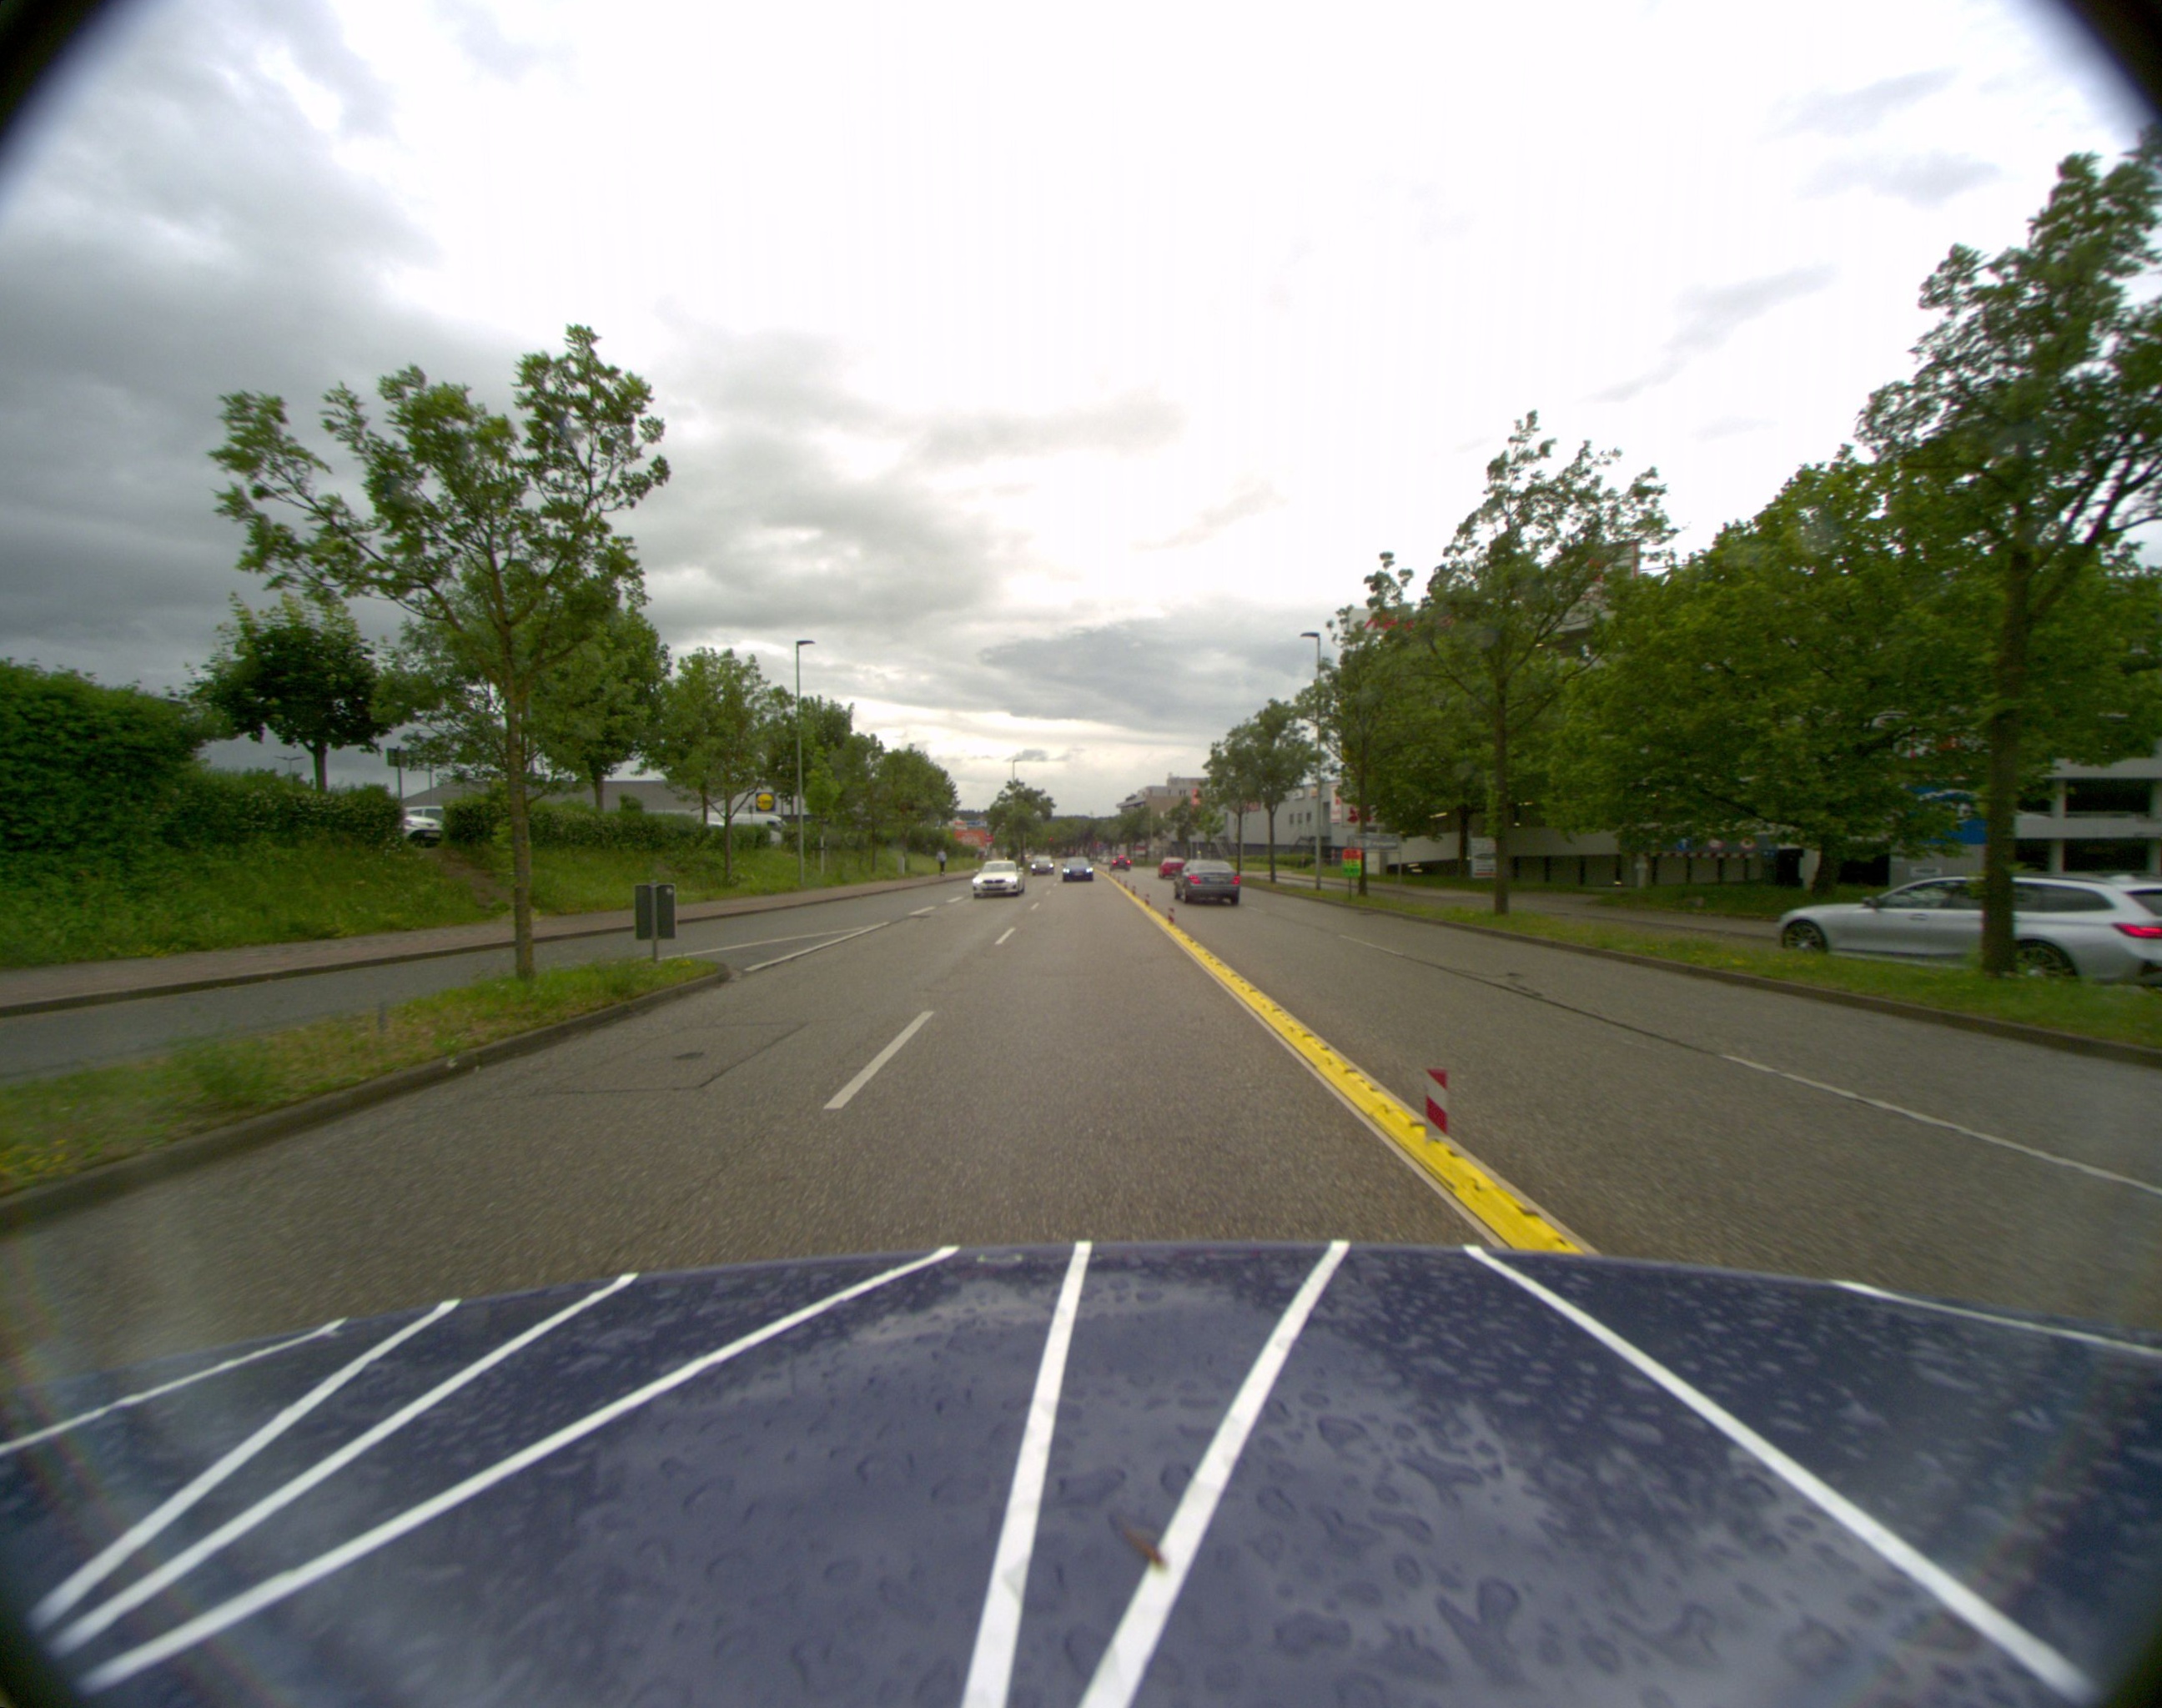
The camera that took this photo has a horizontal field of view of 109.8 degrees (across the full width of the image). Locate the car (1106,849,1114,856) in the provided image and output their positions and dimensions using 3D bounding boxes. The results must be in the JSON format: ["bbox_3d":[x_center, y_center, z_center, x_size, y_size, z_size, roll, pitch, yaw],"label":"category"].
[{"bbox_3d":[9.194,-0.395,243.473,1.999,2.002,4.884,-4,1,-1],"label":"car"}]

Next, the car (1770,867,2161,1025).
[{"bbox_3d":[12.192,1.025,10.101,1.872,1.544,4.575,2,0,0],"label":"car"}]

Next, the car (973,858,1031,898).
[{"bbox_3d":[-3.237,0.949,32.003,1.808,1.432,4.541,-2,0,1],"label":"car"}]

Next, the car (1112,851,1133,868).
[{"bbox_3d":[3.951,0.520,73.444,1.831,1.457,4.615,-2,1,1],"label":"car"}]

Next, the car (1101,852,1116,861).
[{"bbox_3d":[4.620,0.403,129.303,1.905,1.400,4.421,0,0,-7],"label":"car"}]

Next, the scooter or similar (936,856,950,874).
[{"bbox_3d":[-9.698,0.767,53.501,0.696,1.256,1.400,1,1,0],"label":"scooter or similar"}]

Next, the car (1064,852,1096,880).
[{"bbox_3d":[-0.097,0.695,46.830,1.799,1.572,4.218,-2,0,-1],"label":"car"}]

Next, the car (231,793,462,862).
[{"bbox_3d":[-20.069,-0.709,20.926,4.359,1.619,1.927,3,1,-3],"label":"car"}]

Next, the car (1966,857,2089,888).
[{"bbox_3d":[48.973,0.972,39.440,1.756,1.454,3.834,-4,2,-44],"label":"car"}]

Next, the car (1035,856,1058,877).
[{"bbox_3d":[-2.884,1.012,64.008,1.799,1.572,4.217,-2,0,-1],"label":"car"}]

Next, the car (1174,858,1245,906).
[{"bbox_3d":[4.222,0.883,25.621,1.671,1.402,4.377,2,0,1],"label":"car"}]

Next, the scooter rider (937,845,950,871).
[{"bbox_3d":[-9.688,0.284,53.442,0.696,1.810,0.858,1,1,-1],"label":"scooter rider"}]

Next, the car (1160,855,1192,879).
[{"bbox_3d":[6.267,0.836,50.697,1.766,1.417,4.180,1,1,3],"label":"car"}]

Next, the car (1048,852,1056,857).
[{"bbox_3d":[-8.382,0.158,216.300,1.789,1.398,4.613,0,0,-8],"label":"car"}]

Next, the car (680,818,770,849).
[{"bbox_3d":[-21.045,-1.203,45.072,4.360,1.619,1.927,3,1,-5],"label":"car"}]

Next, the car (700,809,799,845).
[{"bbox_3d":[-22.046,-1.765,50.782,5.625,2.130,2.120,2,1,-7],"label":"car"}]
